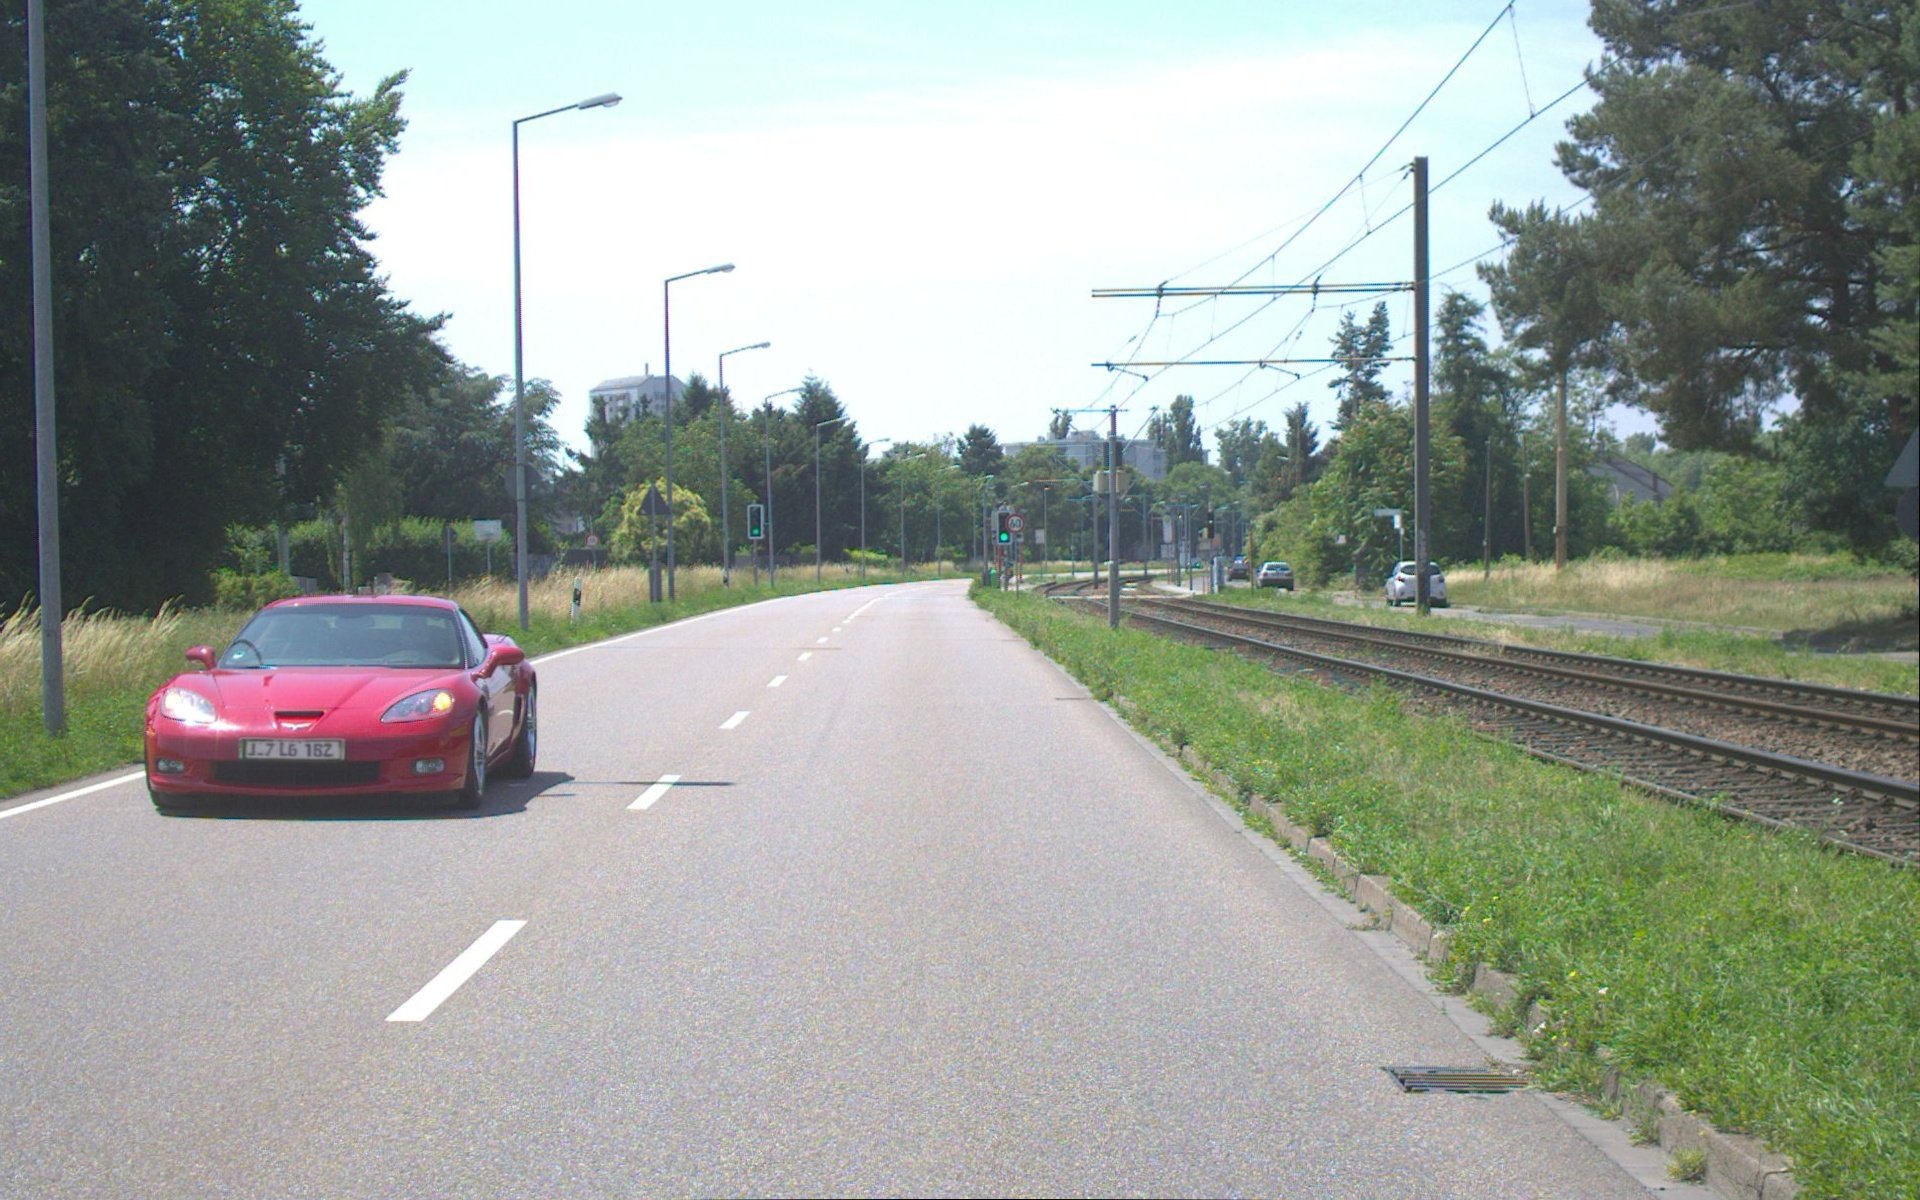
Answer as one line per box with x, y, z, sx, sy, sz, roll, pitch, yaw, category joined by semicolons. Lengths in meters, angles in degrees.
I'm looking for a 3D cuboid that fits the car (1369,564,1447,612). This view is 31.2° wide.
14.792;-0.387;113.760;1.993;1.503;4.000;-1;0;-1;car

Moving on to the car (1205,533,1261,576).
10.406;-1.711;131.285;1.744;1.554;4.000;-1;0;0;car

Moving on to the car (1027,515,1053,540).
5.190;-4.716;224.211;1.551;1.579;3.569;-1;0;0;car

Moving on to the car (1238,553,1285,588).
14.848;-1.425;169.631;1.915;1.656;4.000;-1;0;0;car

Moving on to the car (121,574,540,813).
-3.728;0.516;21.070;1.807;1.281;4.286;-1;0;-1;car
